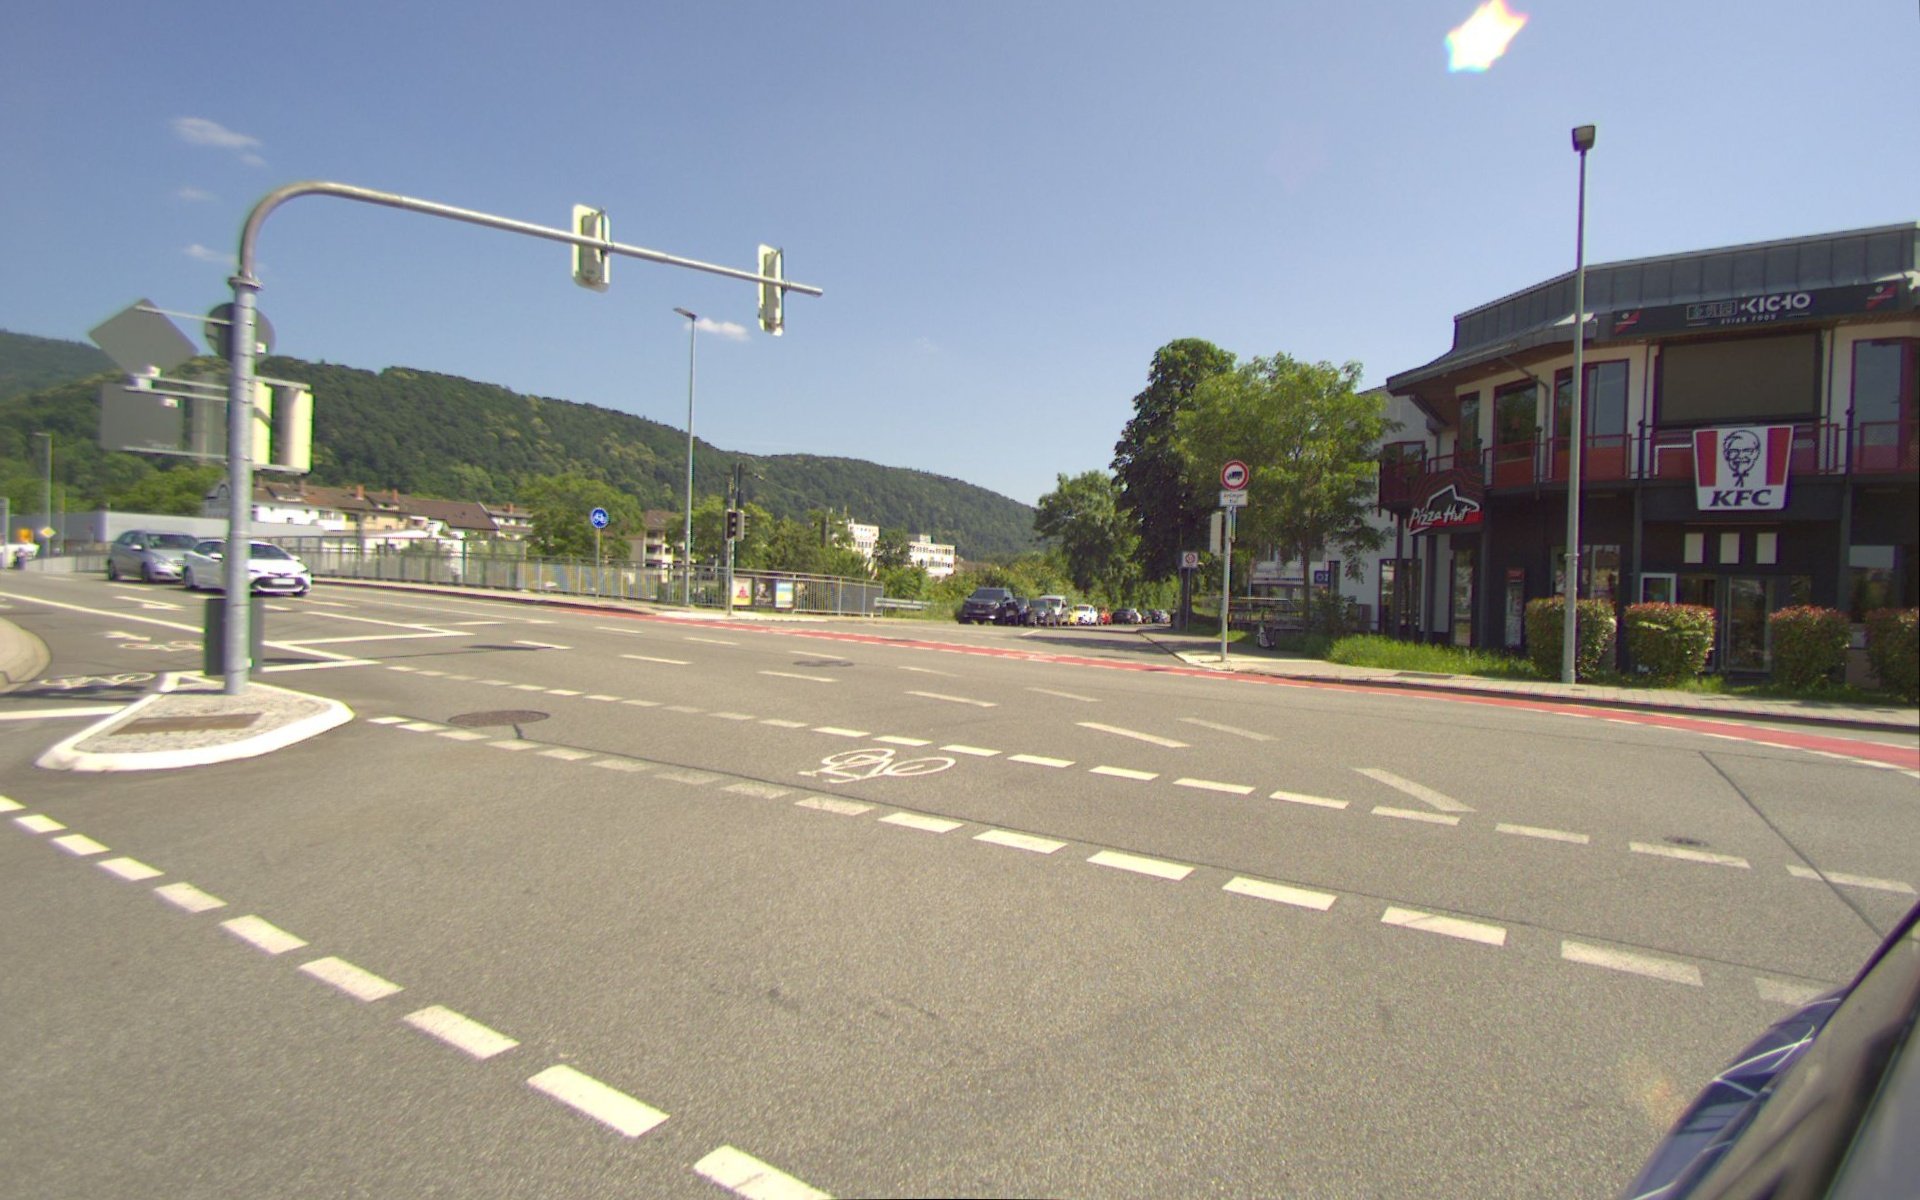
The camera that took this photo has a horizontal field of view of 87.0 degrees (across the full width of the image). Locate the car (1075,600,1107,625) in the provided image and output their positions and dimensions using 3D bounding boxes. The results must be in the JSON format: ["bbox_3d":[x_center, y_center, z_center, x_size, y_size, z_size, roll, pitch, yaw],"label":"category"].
[{"bbox_3d":[9.082,0.861,70.185,1.649,1.552,3.981,2,1,15],"label":"car"}]

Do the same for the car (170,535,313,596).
[{"bbox_3d":[-19.035,-0.924,26.752,4.382,1.488,1.715,3,1,35],"label":"car"}]

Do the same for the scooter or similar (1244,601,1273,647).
[{"bbox_3d":[7.723,0.608,26.158,0.423,1.137,1.437,2,1,27],"label":"scooter or similar"}]

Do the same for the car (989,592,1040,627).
[{"bbox_3d":[2.649,0.427,48.412,1.649,1.552,3.981,2,1,15],"label":"car"}]

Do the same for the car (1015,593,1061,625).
[{"bbox_3d":[4.149,0.421,53.176,1.649,1.552,3.981,2,1,15],"label":"car"}]

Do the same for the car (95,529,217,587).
[{"bbox_3d":[-24.446,-1.278,30.723,4.414,1.646,1.715,3,1,35],"label":"car"}]

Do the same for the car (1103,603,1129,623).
[{"bbox_3d":[13.485,1.092,87.440,1.650,1.453,3.981,5,2,15],"label":"car"}]

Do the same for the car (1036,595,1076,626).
[{"bbox_3d":[5.634,0.558,58.843,1.649,1.655,3.981,2,1,15],"label":"car"}]

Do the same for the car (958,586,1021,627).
[{"bbox_3d":[1.334,0.229,43.811,1.804,1.647,4.219,2,1,14],"label":"car"}]

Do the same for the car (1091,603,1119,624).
[{"bbox_3d":[11.289,1.045,78.655,1.649,1.453,3.981,2,1,15],"label":"car"}]

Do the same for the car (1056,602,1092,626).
[{"bbox_3d":[7.210,0.878,63.797,1.649,1.333,3.981,2,1,15],"label":"car"}]

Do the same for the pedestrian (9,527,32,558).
[{"bbox_3d":[-62.268,-3.795,67.081,1.147,2.039,0.848,2,1,34],"label":"pedestrian"}]

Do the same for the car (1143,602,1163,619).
[{"bbox_3d":[19.684,1.067,103.179,1.650,1.552,3.979,2,1,16],"label":"car"}]
